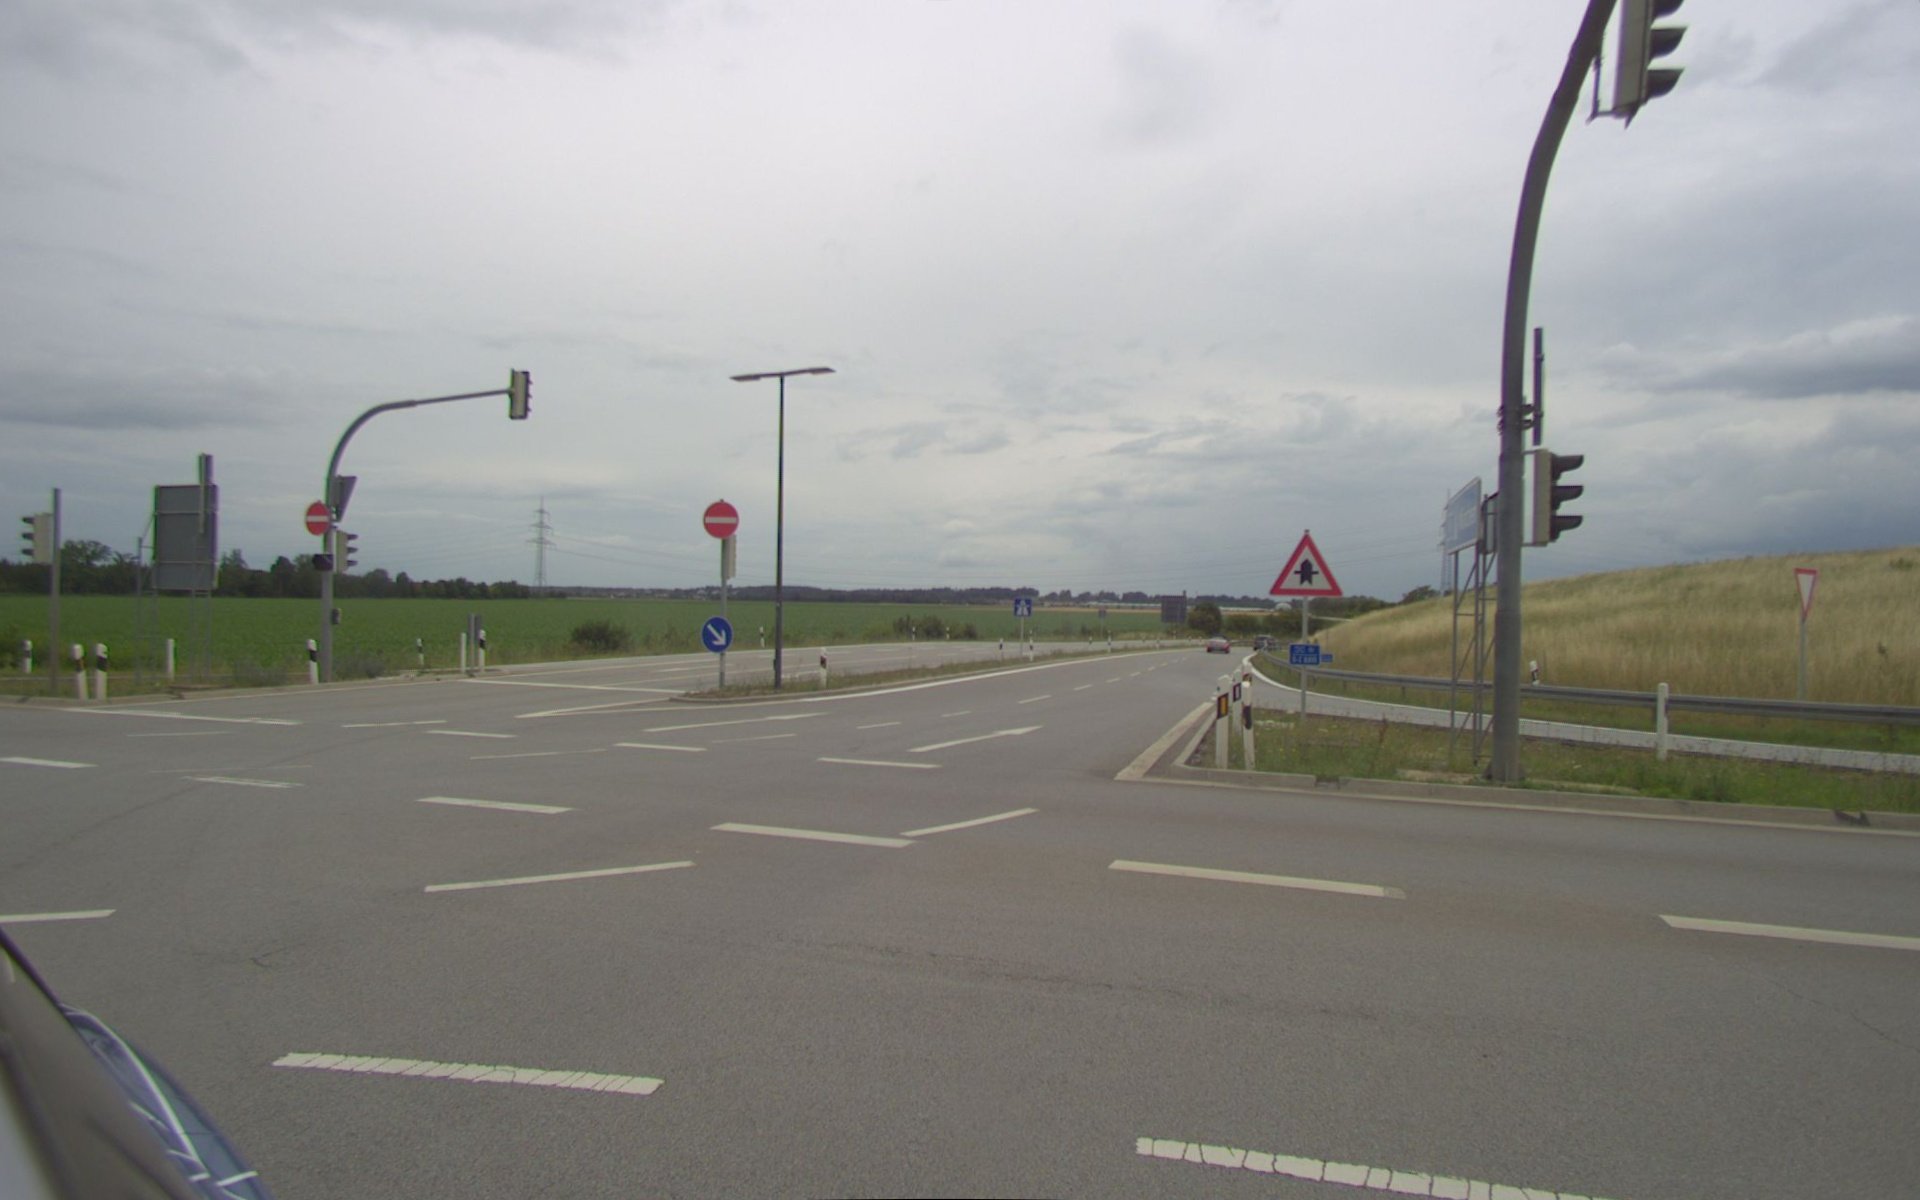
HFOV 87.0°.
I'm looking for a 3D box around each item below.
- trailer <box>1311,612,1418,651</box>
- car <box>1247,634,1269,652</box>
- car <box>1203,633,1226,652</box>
[{"bbox_3d":[47.020,3.715,117.404,13.600,4.242,2.709,2,-1,-23],"label":"trailer"},{"bbox_3d":[30.950,4.495,105.217,1.982,1.707,4.433,1,-1,15],"label":"car"},{"bbox_3d":[21.274,3.555,84.498,1.799,1.532,4.221,0,-2,15],"label":"car"}]
